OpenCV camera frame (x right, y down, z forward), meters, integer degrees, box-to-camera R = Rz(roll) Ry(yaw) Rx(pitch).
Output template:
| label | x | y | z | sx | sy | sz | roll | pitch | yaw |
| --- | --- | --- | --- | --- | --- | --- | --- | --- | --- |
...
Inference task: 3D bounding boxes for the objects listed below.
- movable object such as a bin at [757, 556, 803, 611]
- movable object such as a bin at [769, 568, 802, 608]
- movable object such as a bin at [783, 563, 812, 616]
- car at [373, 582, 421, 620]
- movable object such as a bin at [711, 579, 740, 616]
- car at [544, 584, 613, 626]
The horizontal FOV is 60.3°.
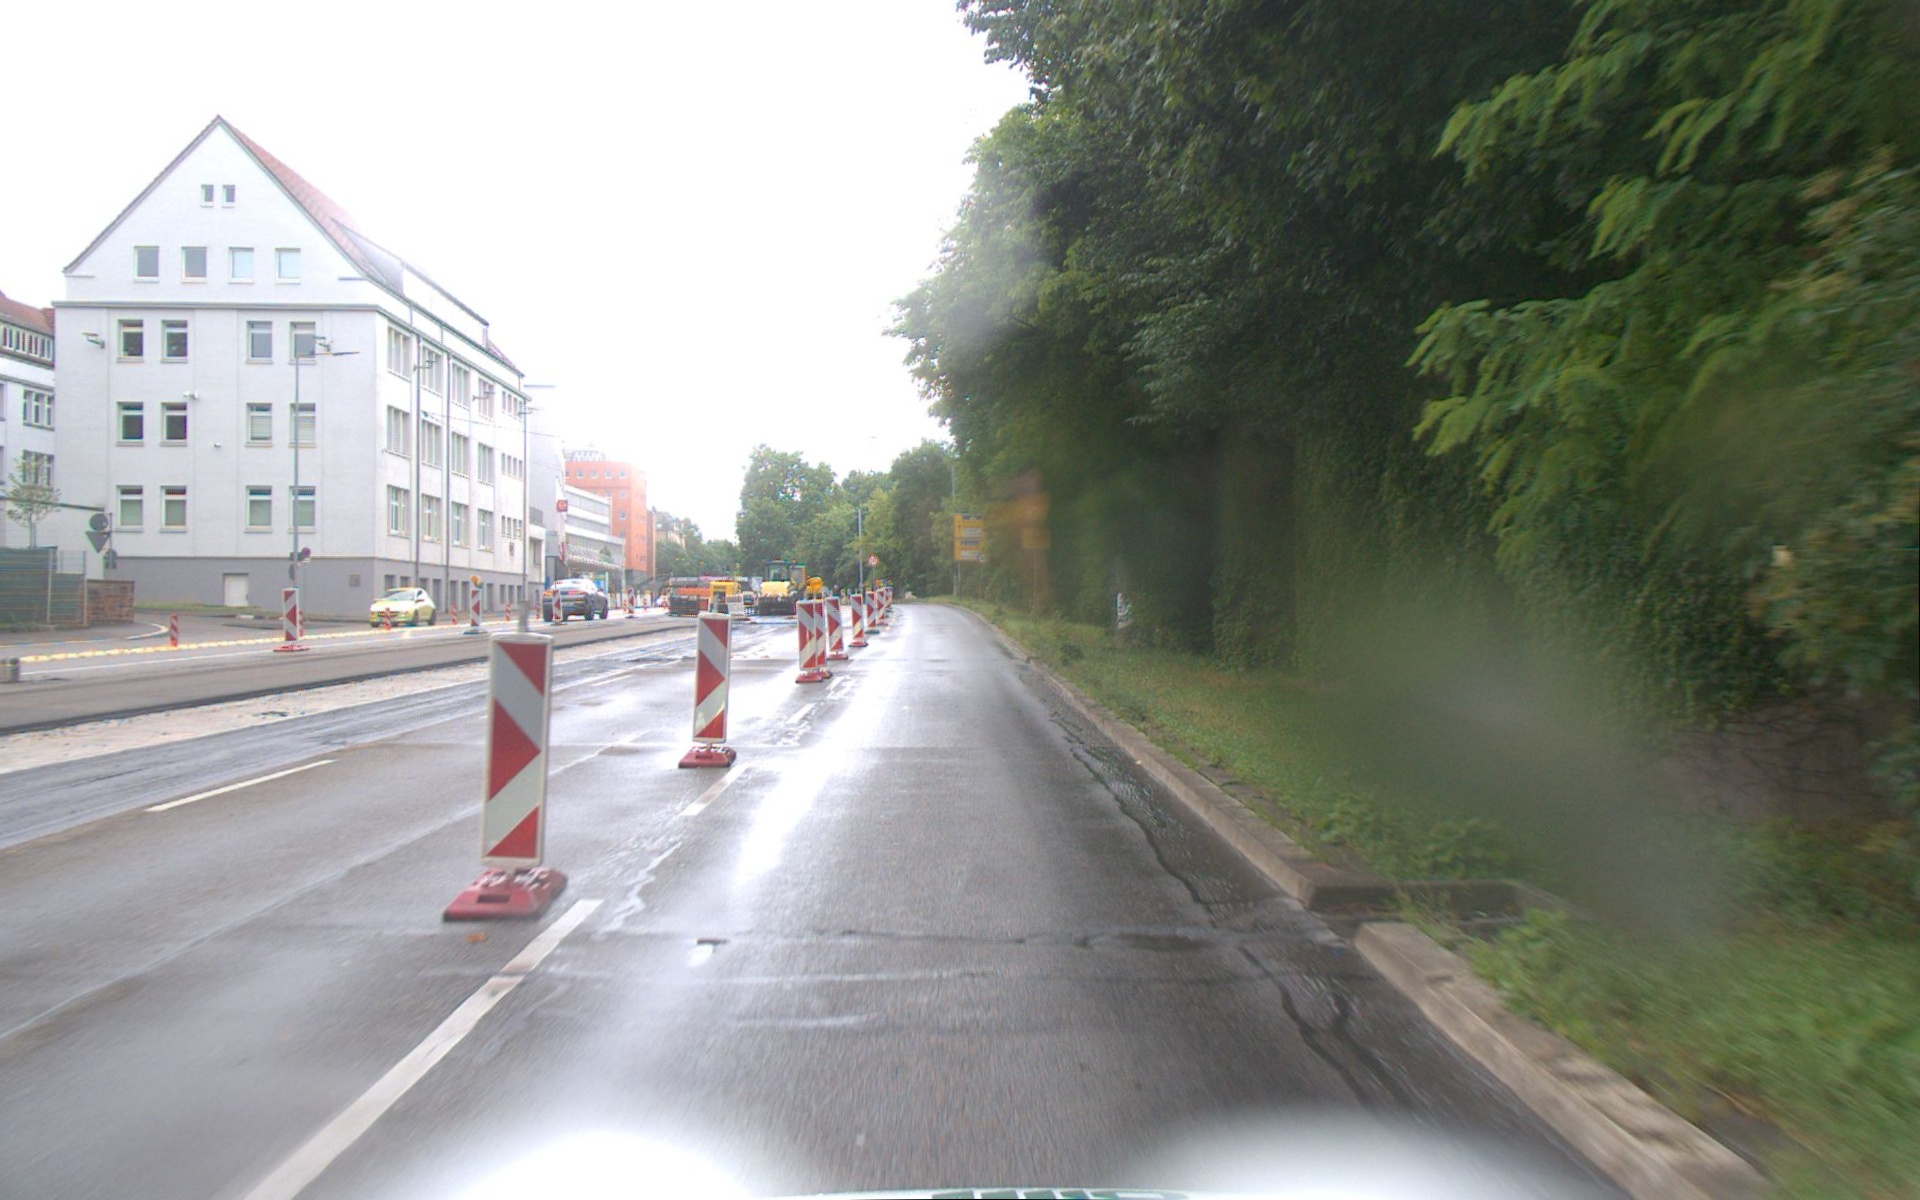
| label | x | y | z | sx | sy | sz | roll | pitch | yaw |
| --- | --- | --- | --- | --- | --- | --- | --- | --- | --- |
| movable object such as a bin | -9.150 | -0.845 | 84.416 | 1.863 | 2.654 | 5.382 | -1 | 1 | -1 |
| movable object such as a bin | -9.503 | -0.670 | 90.395 | 1.335 | 2.126 | 5.029 | -1 | 1 | -1 |
| movable object such as a bin | -9.798 | -0.630 | 99.941 | 1.436 | 3.061 | 3.722 | -2 | 0 | -3 |
| car | -21.914 | 0.031 | 64.330 | 1.532 | 1.392 | 3.779 | -2 | 0 | -22 |
| movable object such as a bin | -10.764 | -0.119 | 76.104 | 1.061 | 1.673 | 2.438 | 0 | 0 | -2 |
| car | -15.788 | 0.196 | 68.665 | 1.854 | 1.679 | 4.395 | 0 | 0 | 0 |
